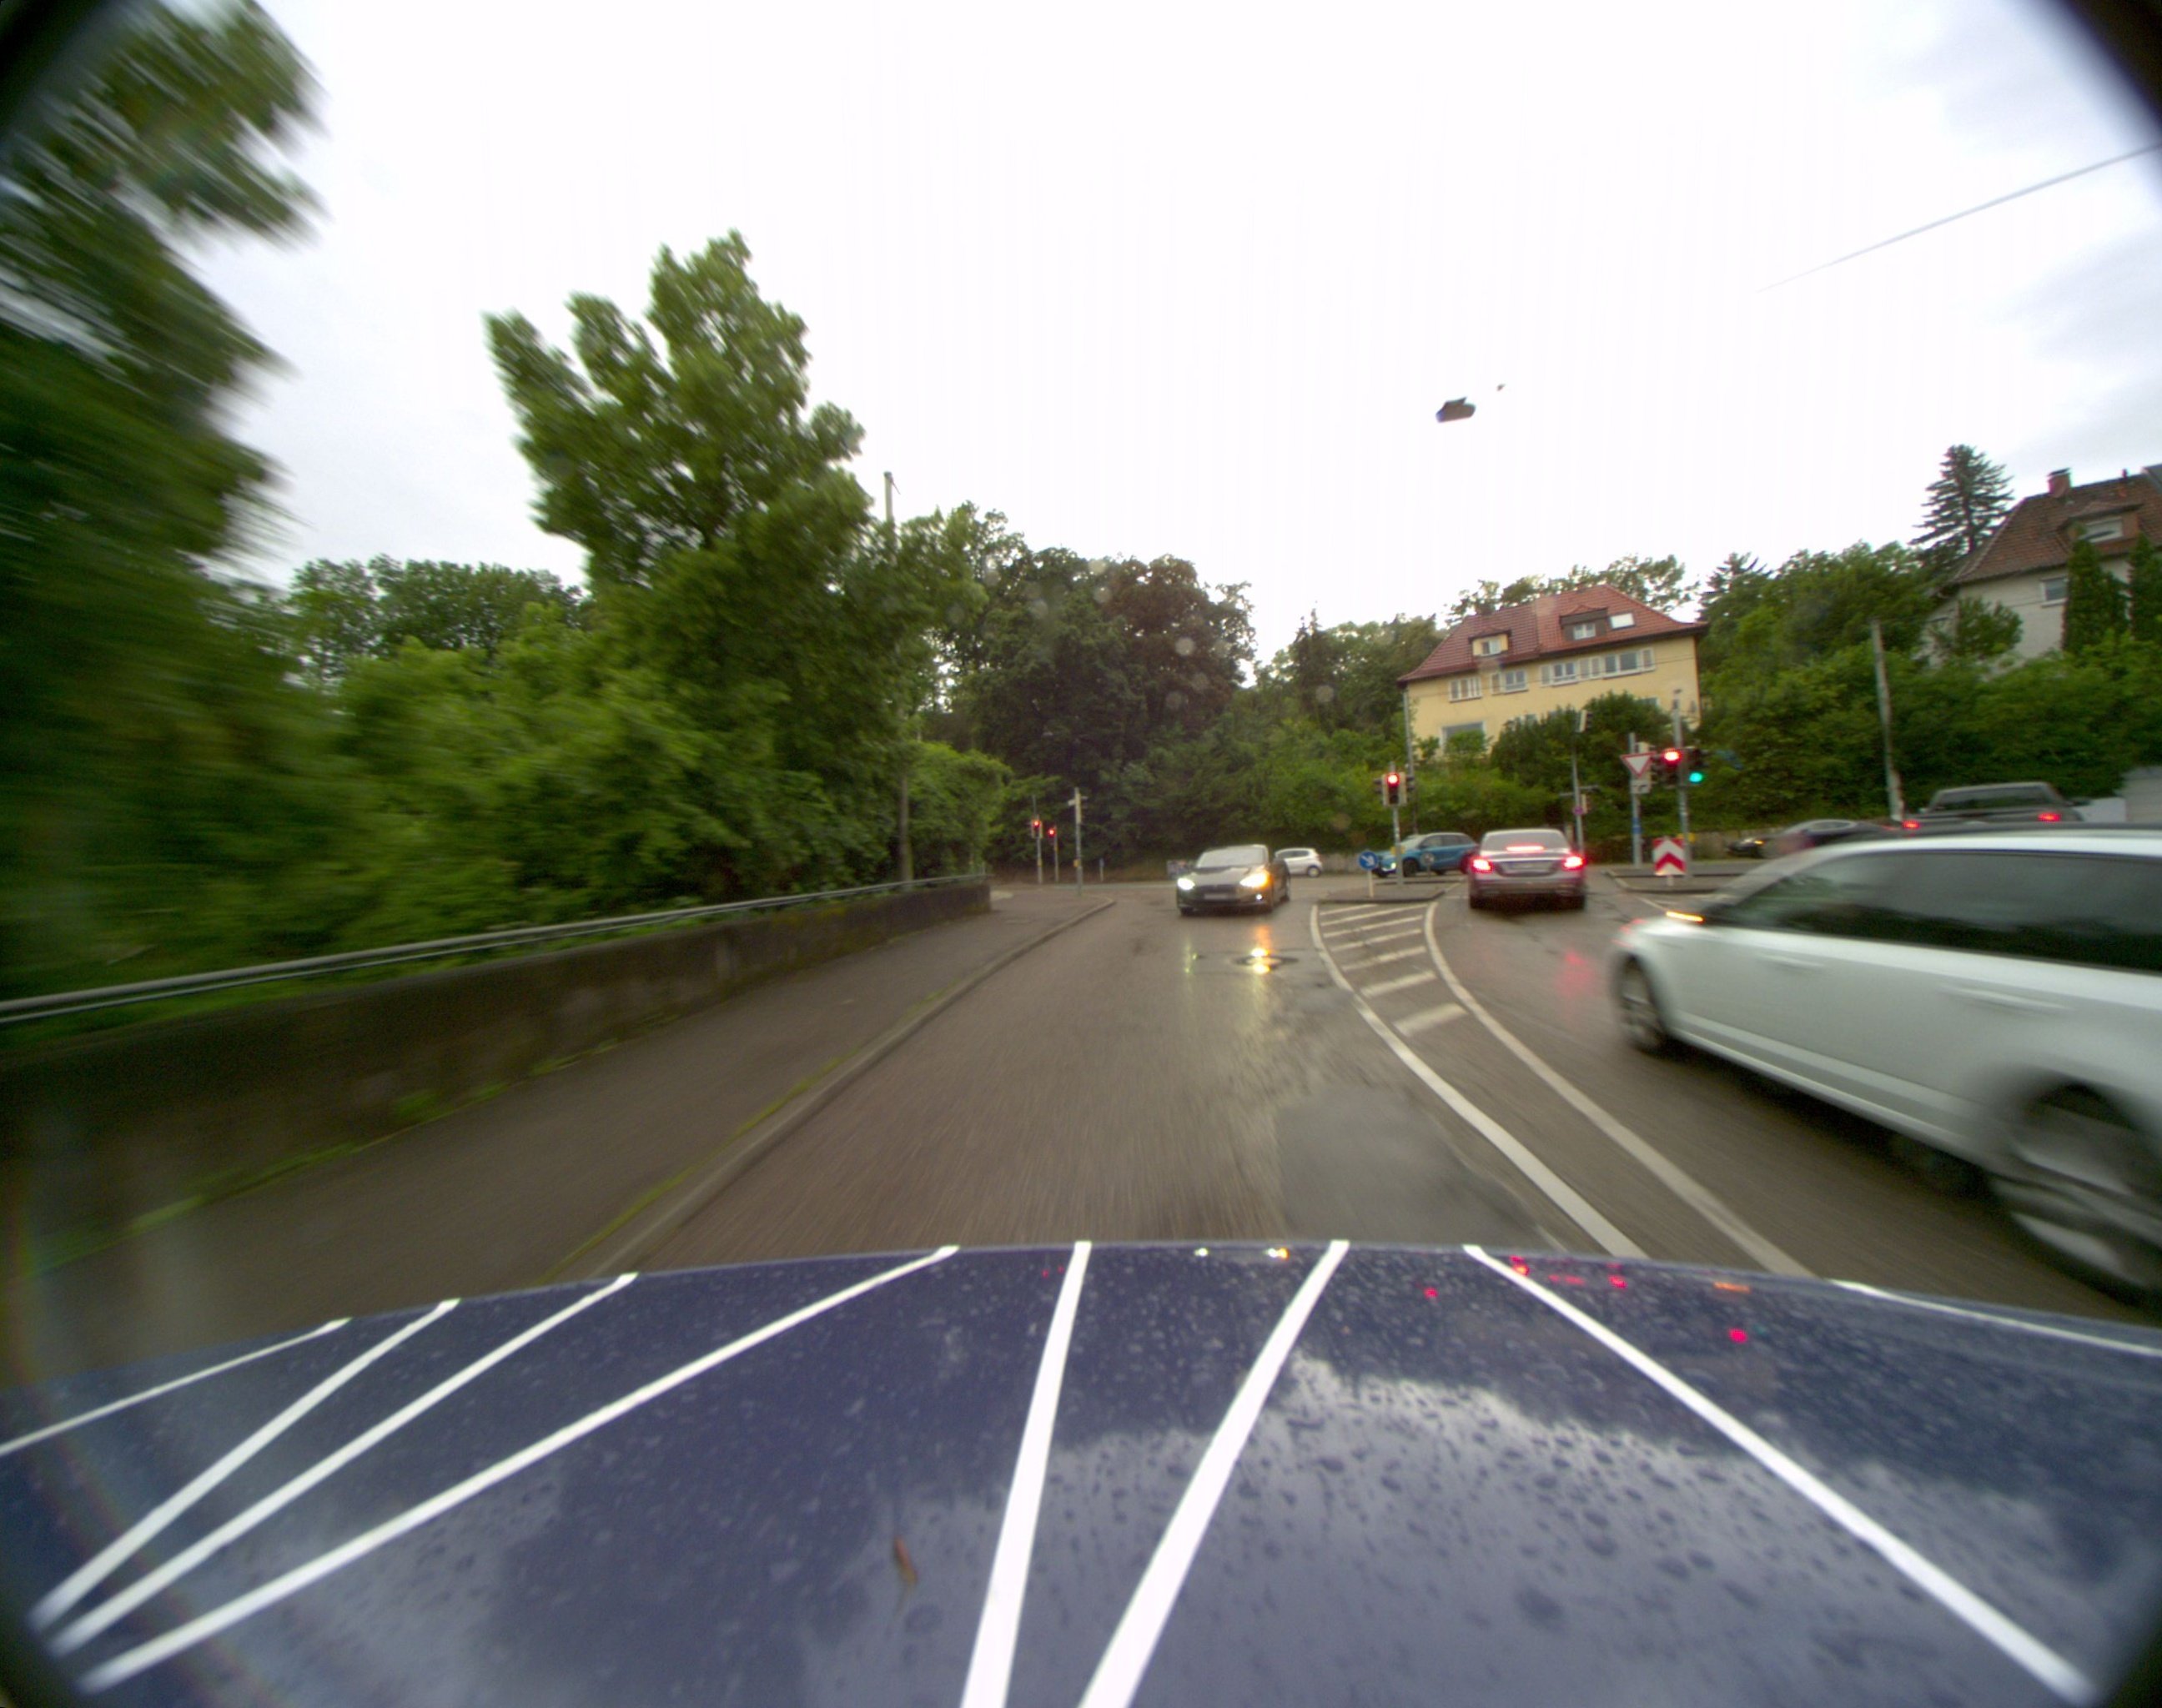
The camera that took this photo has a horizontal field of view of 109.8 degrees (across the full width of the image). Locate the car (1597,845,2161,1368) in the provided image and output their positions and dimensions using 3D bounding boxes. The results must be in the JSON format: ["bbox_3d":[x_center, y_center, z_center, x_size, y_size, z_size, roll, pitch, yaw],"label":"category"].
[{"bbox_3d":[4.211,0.720,3.079,1.850,1.466,4.443,0,1,10],"label":"car"}]

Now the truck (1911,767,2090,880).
[{"bbox_3d":[17.825,-0.632,14.656,5.288,1.838,1.883,-4,3,-36],"label":"truck"}]

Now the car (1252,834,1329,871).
[{"bbox_3d":[10.171,-0.056,36.901,3.358,1.442,1.556,-5,-4,21],"label":"car"}]

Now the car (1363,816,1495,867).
[{"bbox_3d":[12.863,-0.442,28.207,4.041,1.599,1.802,-2,-3,-7],"label":"car"}]

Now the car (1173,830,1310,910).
[{"bbox_3d":[3.702,0.275,16.872,1.832,1.384,4.330,-3,2,27],"label":"car"}]

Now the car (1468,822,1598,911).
[{"bbox_3d":[8.581,0.133,14.691,1.860,1.387,4.603,-1,3,28],"label":"car"}]

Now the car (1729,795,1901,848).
[{"bbox_3d":[25.141,-1.065,26.242,4.031,1.451,1.763,-5,-2,38],"label":"car"}]

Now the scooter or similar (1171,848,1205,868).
[{"bbox_3d":[6.044,0.233,43.044,1.764,1.068,0.605,-2,-3,25],"label":"scooter or similar"}]
